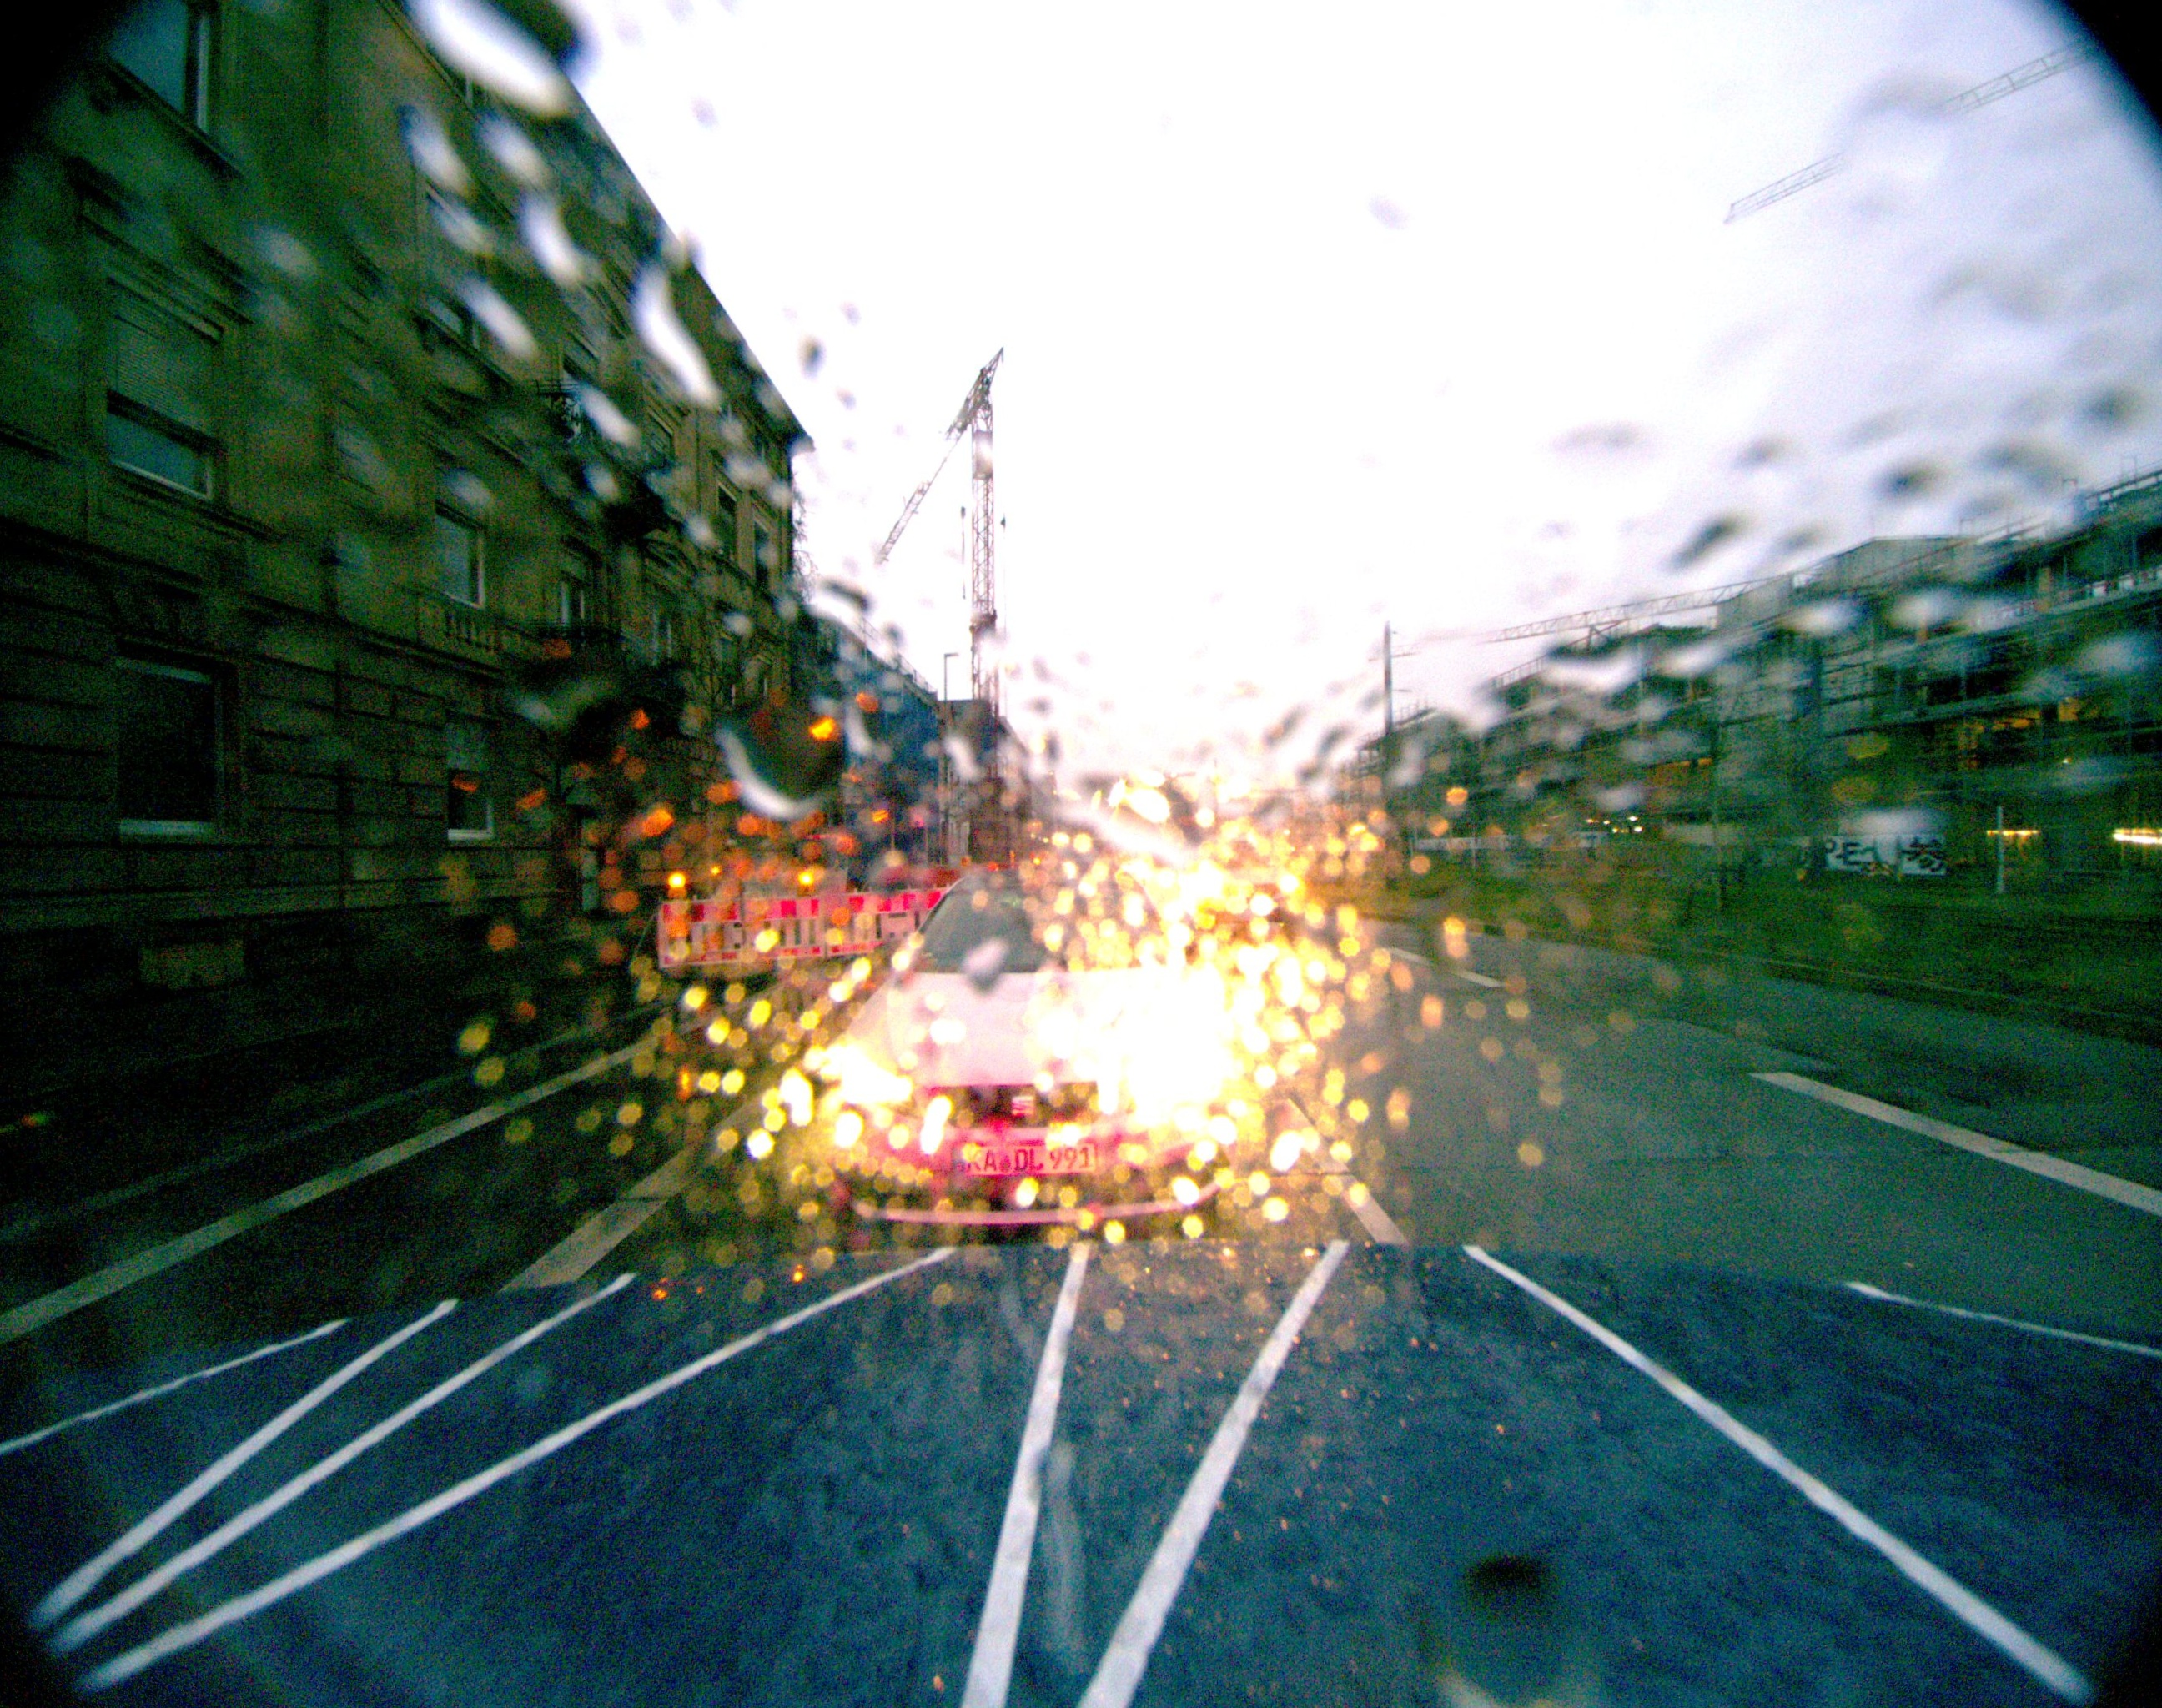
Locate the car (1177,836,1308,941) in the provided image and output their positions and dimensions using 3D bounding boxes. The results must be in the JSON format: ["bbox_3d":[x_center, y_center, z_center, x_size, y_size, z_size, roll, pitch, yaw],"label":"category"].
[{"bbox_3d":[2.999,0.570,14.945,1.857,1.723,4.000,-2,1,3],"label":"car"}]

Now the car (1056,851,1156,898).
[{"bbox_3d":[0.914,0.769,30.259,1.848,1.644,4.313,-3,1,-32],"label":"car"}]

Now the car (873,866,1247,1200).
[{"bbox_3d":[-0.138,0.901,5.691,1.764,1.443,3.999,-2,1,-1],"label":"car"}]

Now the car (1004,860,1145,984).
[{"bbox_3d":[-0.124,0.892,11.748,1.764,1.443,3.999,-2,1,-1],"label":"car"}]

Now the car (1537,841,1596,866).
[{"bbox_3d":[37.170,-0.042,58.287,1.998,1.761,4.000,-2,1,2],"label":"car"}]

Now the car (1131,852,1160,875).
[{"bbox_3d":[4.755,0.647,56.117,1.844,1.547,4.000,-2,1,2],"label":"car"}]

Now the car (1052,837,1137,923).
[{"bbox_3d":[0.268,0.570,19.247,1.858,1.886,3.999,-2,1,-1],"label":"car"}]
